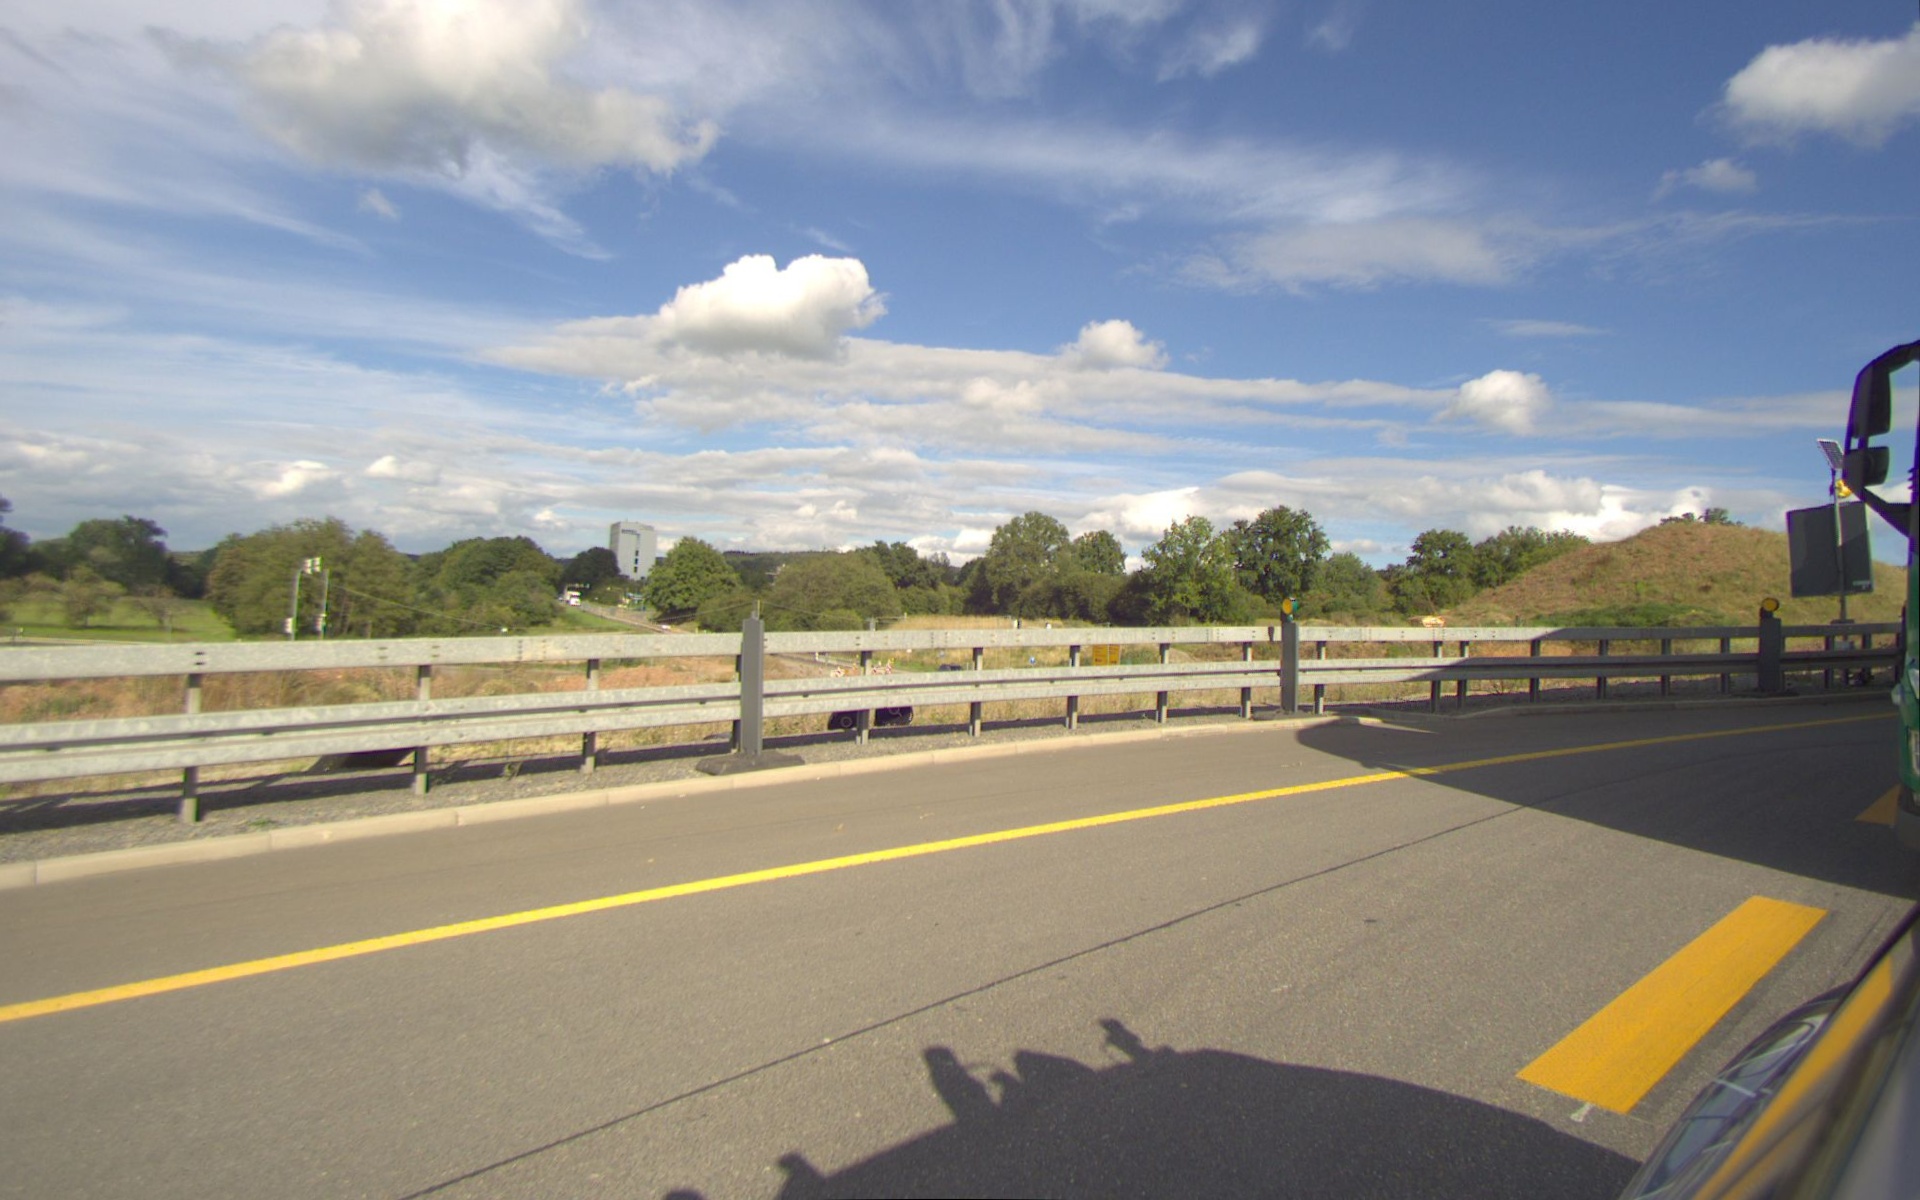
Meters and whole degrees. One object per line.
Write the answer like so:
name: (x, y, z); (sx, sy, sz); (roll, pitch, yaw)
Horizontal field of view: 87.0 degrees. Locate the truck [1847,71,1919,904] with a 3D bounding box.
truck: (9.019, -0.590, 7.222); (10.137, 3.896, 2.661); (-1, 0, -41)
